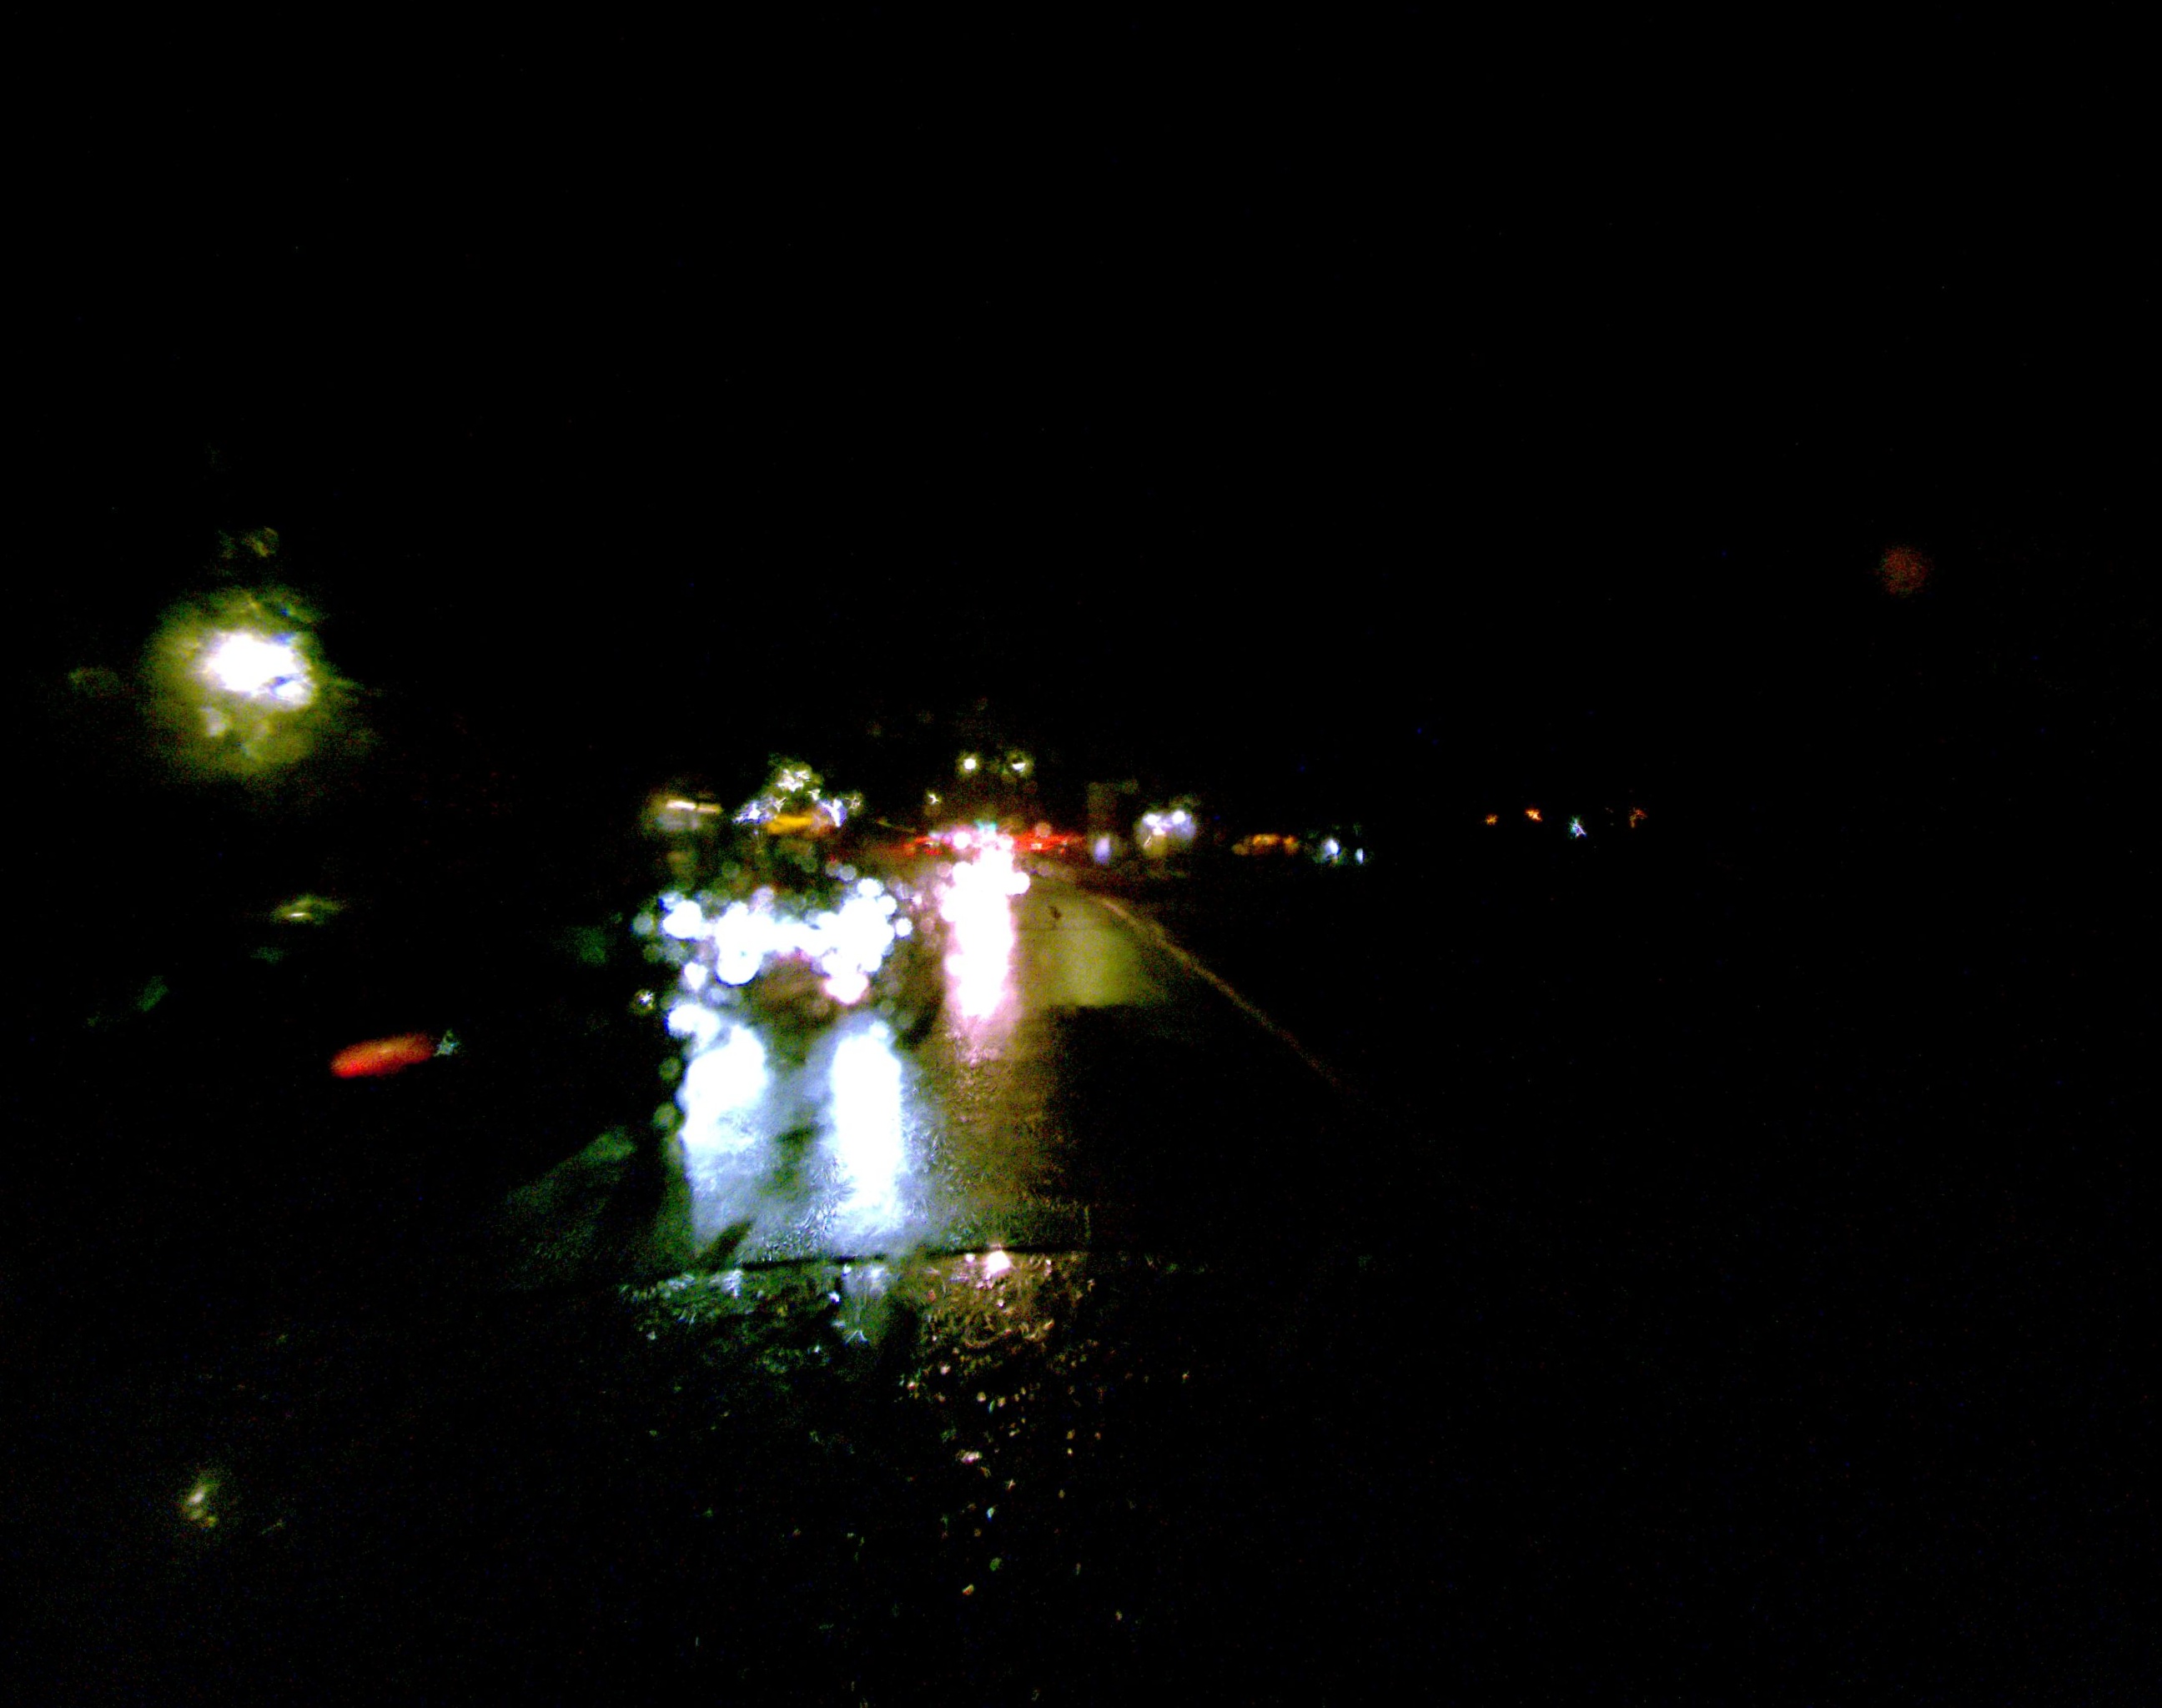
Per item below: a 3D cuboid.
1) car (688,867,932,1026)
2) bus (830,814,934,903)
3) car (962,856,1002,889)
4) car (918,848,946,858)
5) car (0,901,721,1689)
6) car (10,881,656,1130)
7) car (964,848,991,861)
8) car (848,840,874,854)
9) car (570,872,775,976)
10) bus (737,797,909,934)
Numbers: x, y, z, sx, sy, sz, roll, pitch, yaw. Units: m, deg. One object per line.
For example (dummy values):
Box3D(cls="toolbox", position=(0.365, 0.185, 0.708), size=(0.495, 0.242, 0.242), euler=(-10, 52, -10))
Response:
Box3D(cls="car", position=(-3.332, 1.033, 10.288), size=(1.724, 1.478, 4.161), euler=(-4, 1, 0))
Box3D(cls="bus", position=(-8.309, 0.126, 33.034), size=(2.742, 3.219, 9.694), euler=(-2, 1, -6))
Box3D(cls="car", position=(-4.700, 0.820, 35.824), size=(1.757, 1.438, 3.970), euler=(0, 1, -9))
Box3D(cls="car", position=(-21.588, -0.182, 109.707), size=(1.905, 1.381, 4.599), euler=(-2, 1, -40))
Box3D(cls="car", position=(-3.168, 1.052, 2.763), size=(1.724, 1.438, 4.161), euler=(-1, 1, 0))
Box3D(cls="car", position=(-6.450, 1.123, 7.598), size=(1.724, 1.478, 4.786), euler=(-1, 1, 0))
Box3D(cls="car", position=(-12.773, 0.093, 93.702), size=(1.604, 1.528, 4.301), euler=(-2, 1, -33))
Box3D(cls="car", position=(-23.744, -0.723, 81.956), size=(1.712, 1.382, 3.990), euler=(-2, 1, -32))
Box3D(cls="car", position=(-7.151, 1.127, 13.844), size=(1.725, 1.478, 4.160), euler=(0, 1, -4))
Box3D(cls="bus", position=(-7.369, 0.222, 23.348), size=(2.742, 3.258, 9.694), euler=(-2, 1, -5))
